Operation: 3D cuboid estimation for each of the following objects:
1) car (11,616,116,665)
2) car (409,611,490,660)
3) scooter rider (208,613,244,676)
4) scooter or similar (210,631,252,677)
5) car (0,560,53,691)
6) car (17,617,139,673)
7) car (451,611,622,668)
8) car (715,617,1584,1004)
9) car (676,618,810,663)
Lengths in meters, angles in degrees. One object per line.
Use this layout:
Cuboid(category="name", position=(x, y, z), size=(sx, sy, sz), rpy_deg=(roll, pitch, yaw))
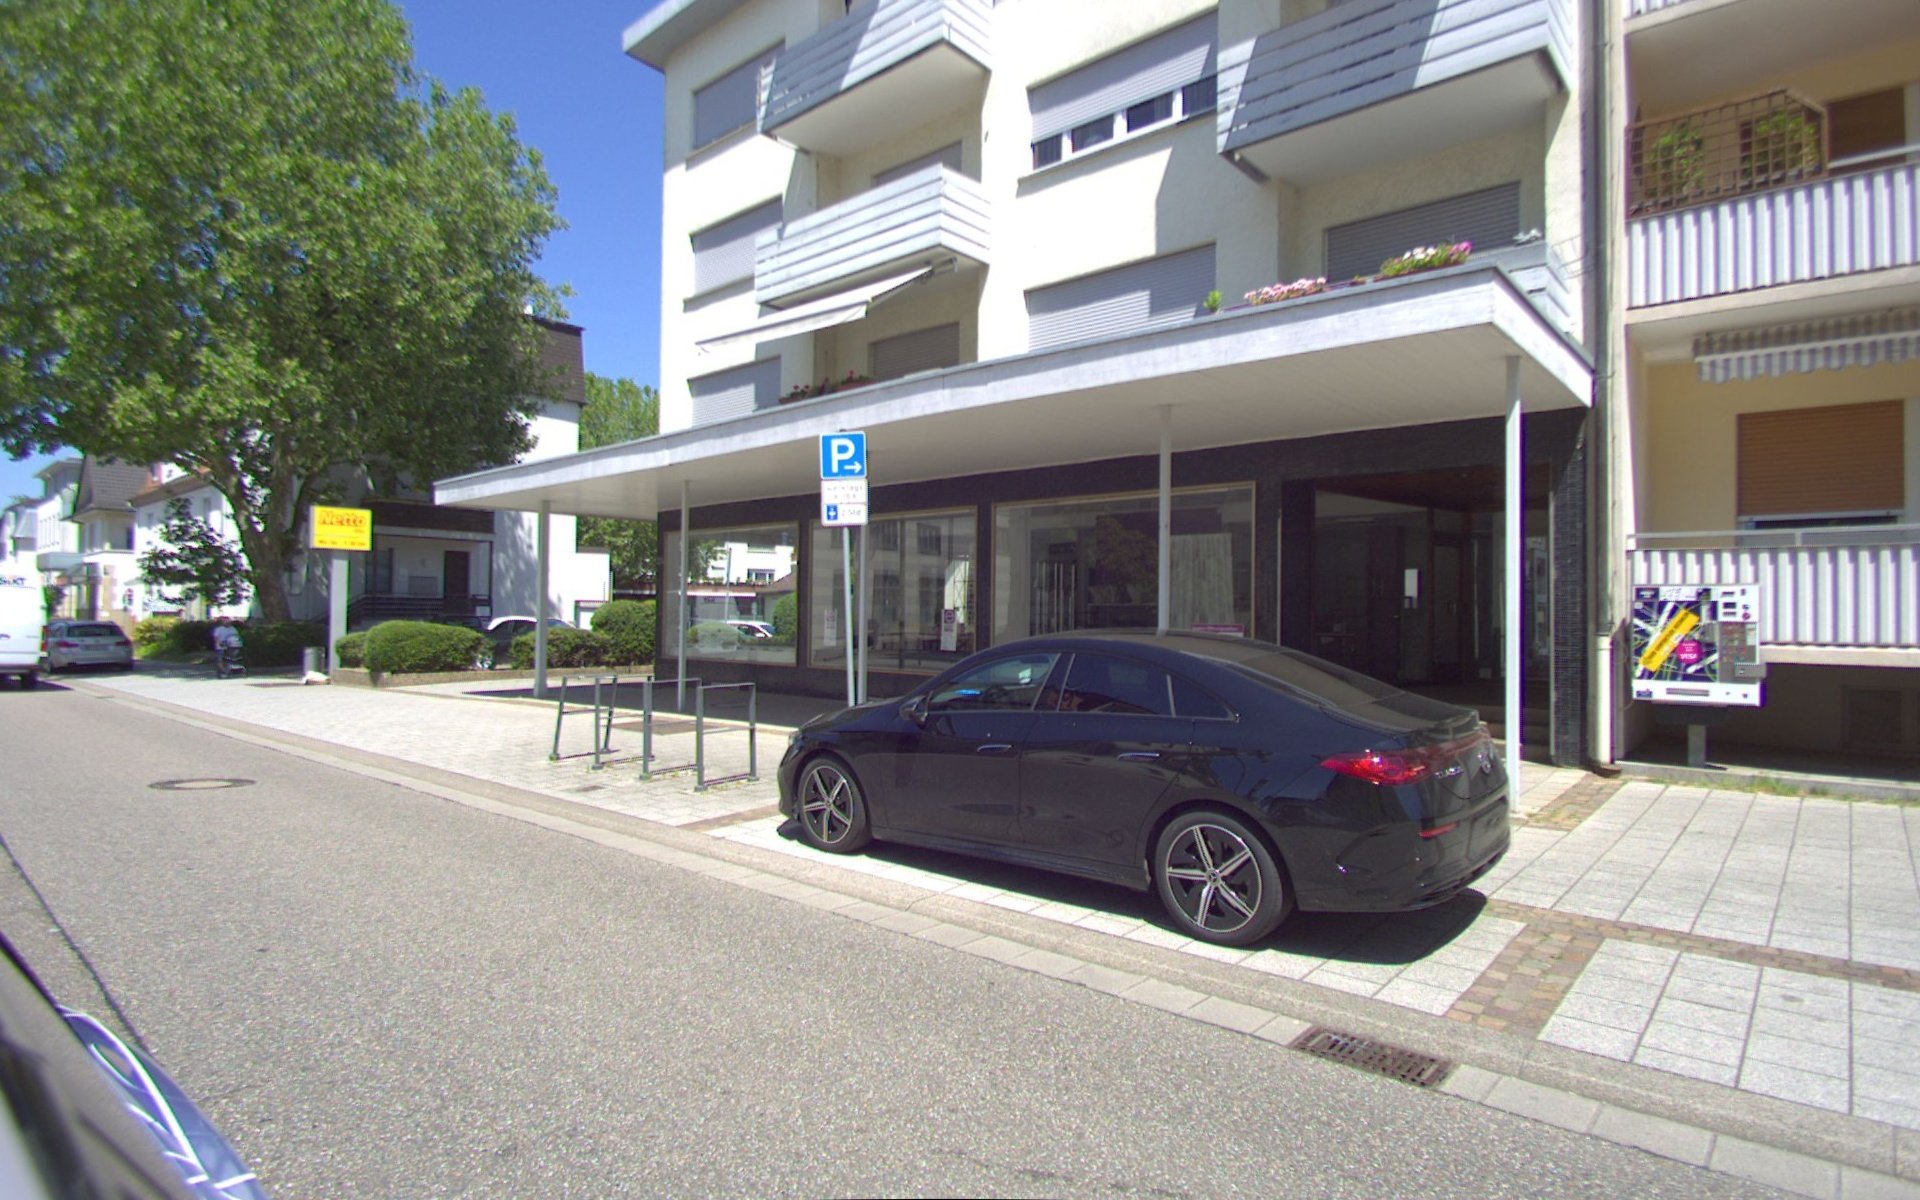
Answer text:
Cuboid(category="car", position=(-29.774, 1.296, 33.564), size=(4.865, 1.463, 1.961), rpy_deg=(-1, -1, 41))
Cuboid(category="car", position=(-17.183, 1.168, 33.968), size=(1.782, 1.557, 4.115), rpy_deg=(2, -2, -36))
Cuboid(category="scooter rider", position=(-19.099, 1.155, 26.329), size=(0.877, 1.587, 0.582), rpy_deg=(-2, 0, 43))
Cuboid(category="scooter or similar", position=(-18.630, 1.368, 25.854), size=(1.028, 1.106, 0.656), rpy_deg=(-1, 0, 43))
Cuboid(category="car", position=(-22.368, 0.558, 22.663), size=(7.102, 2.650, 2.015), rpy_deg=(-1, -4, 40))
Cuboid(category="car", position=(-25.633, 1.253, 29.347), size=(5.147, 1.463, 1.961), rpy_deg=(-1, -1, 41))
Cuboid(category="car", position=(-11.560, 1.061, 27.751), size=(3.953, 1.498, 1.890), rpy_deg=(0, -1, 11))
Cuboid(category="car", position=(0.771, 0.857, 6.282), size=(5.045, 1.428, 1.876), rpy_deg=(-1, 1, 41))
Cuboid(category="car", position=(-7.165, 1.339, 33.553), size=(4.000, 1.445, 1.767), rpy_deg=(0, -3, 16))
